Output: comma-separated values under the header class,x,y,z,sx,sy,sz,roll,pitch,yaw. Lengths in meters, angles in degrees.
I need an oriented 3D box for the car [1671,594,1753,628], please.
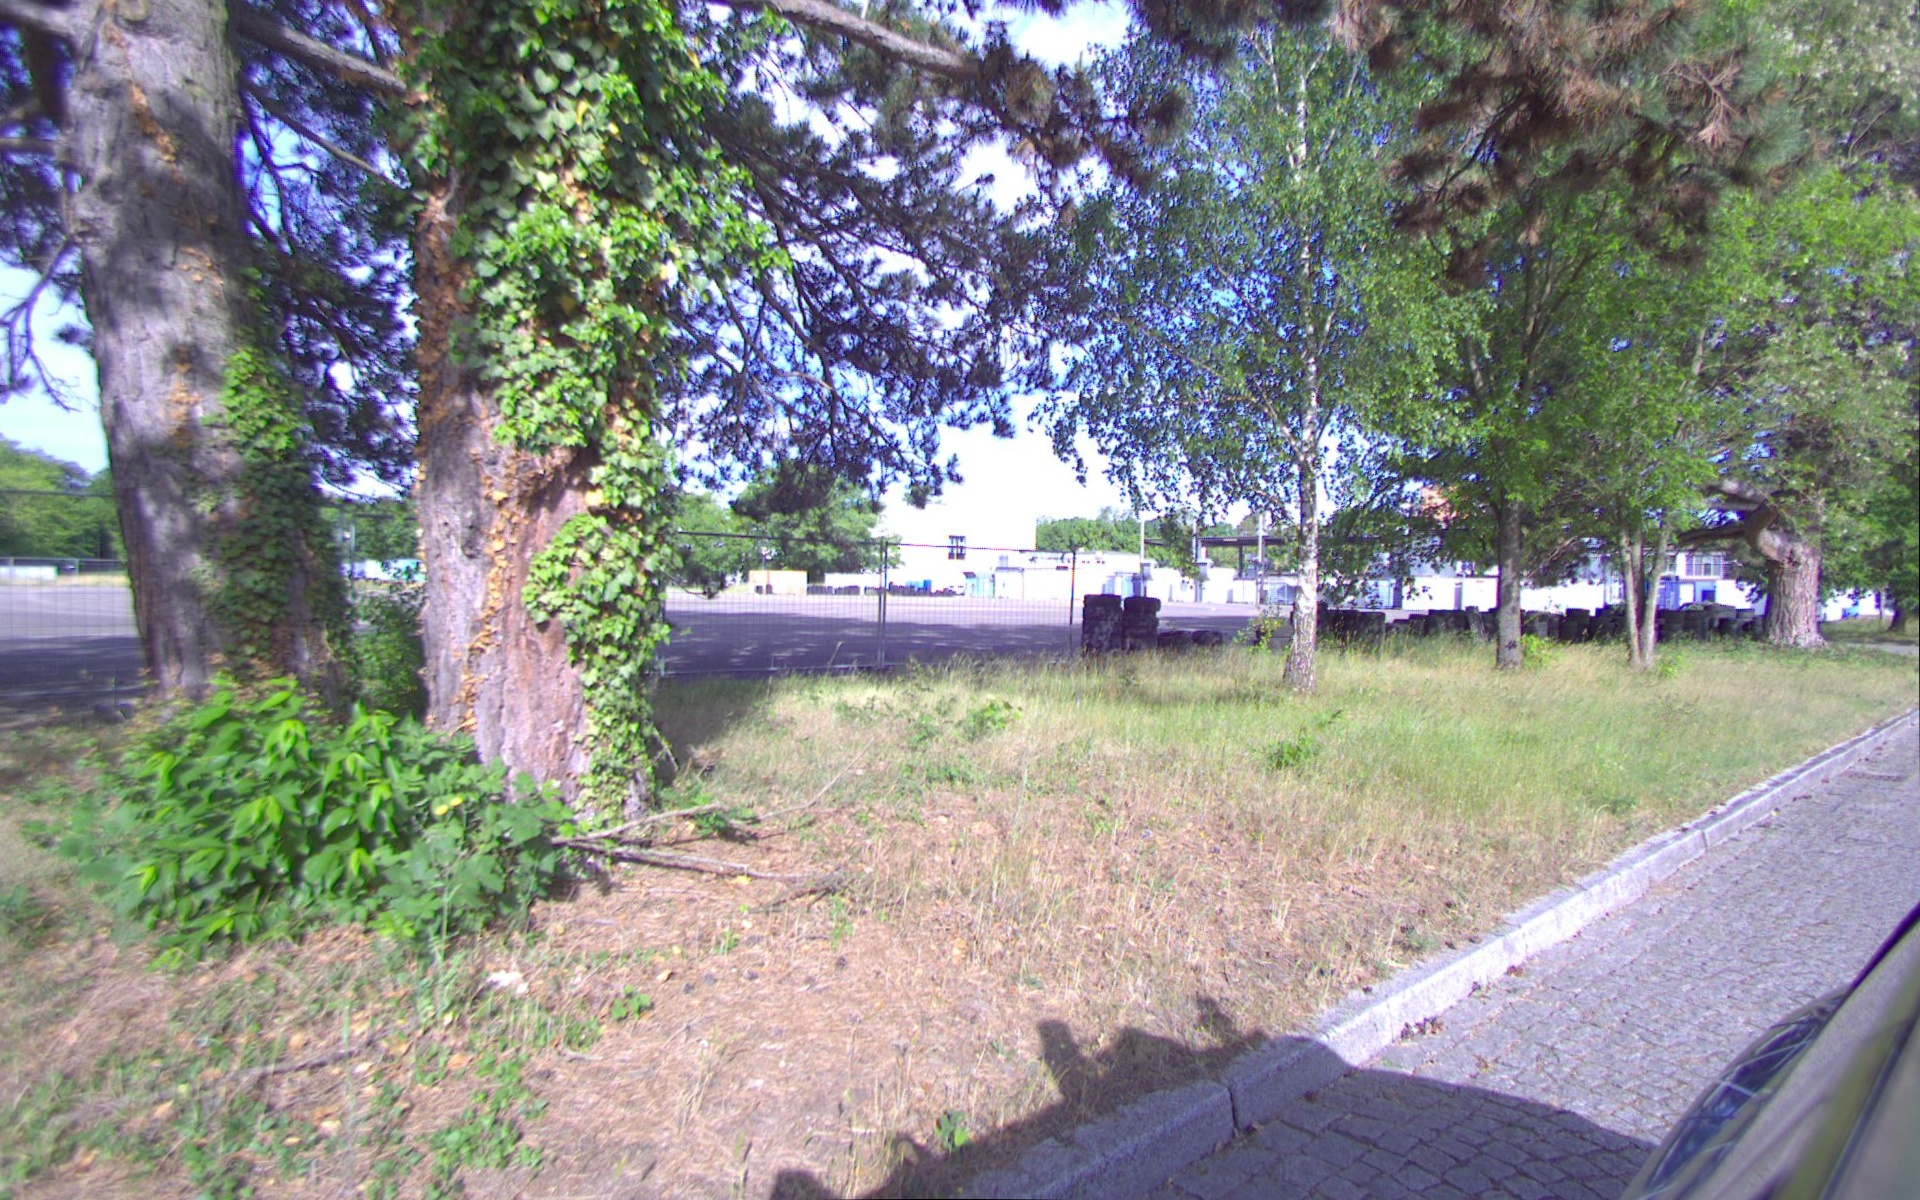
class,x,y,z,sx,sy,sz,roll,pitch,yaw
car,34.015,0.483,45.743,3.924,1.467,1.849,0,1,-35
